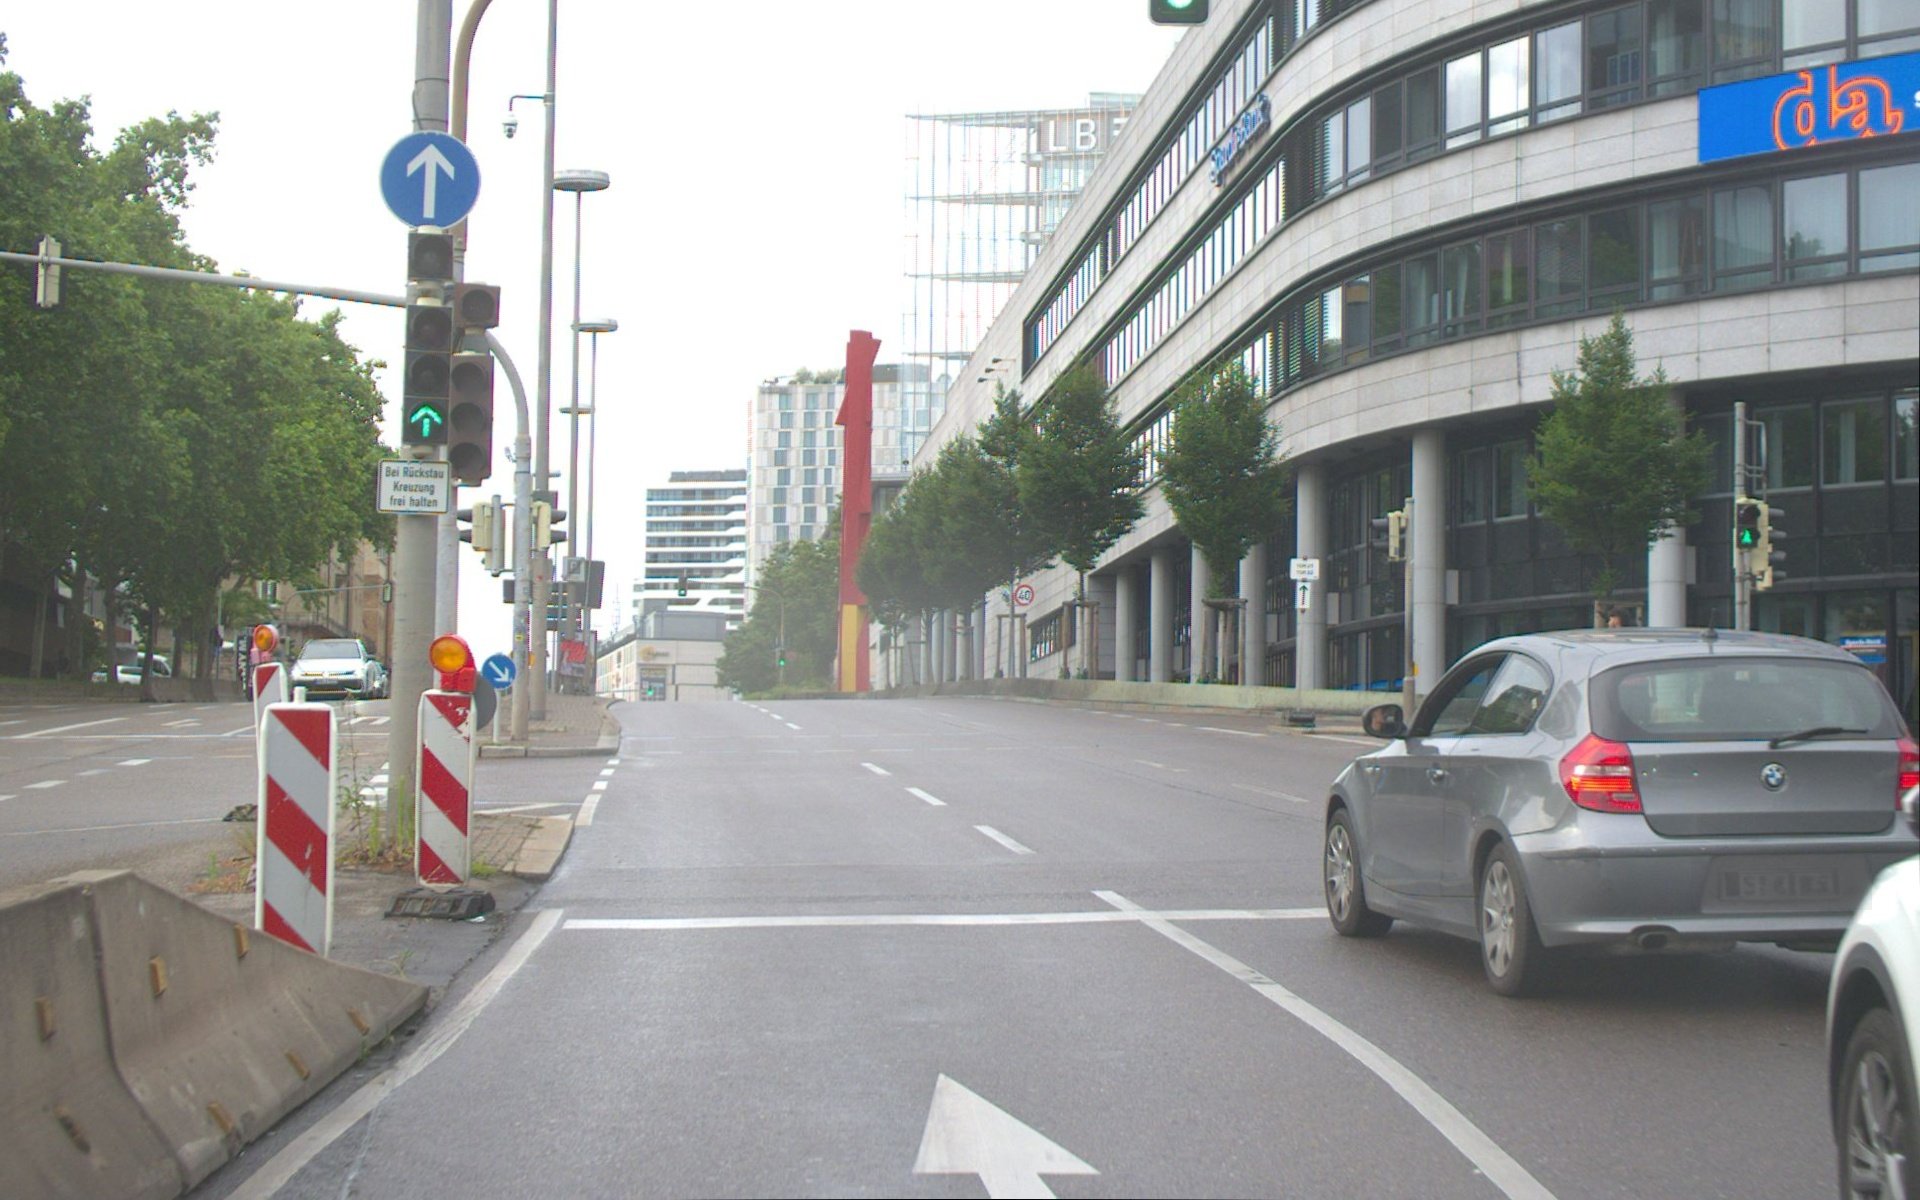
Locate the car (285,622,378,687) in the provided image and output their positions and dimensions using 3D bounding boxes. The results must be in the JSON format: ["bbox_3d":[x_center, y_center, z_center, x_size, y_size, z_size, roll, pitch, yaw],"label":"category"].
[{"bbox_3d":[-14.813,1.272,81.232,1.760,1.456,4.360,-1,0,-5],"label":"car"}]

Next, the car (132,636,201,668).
[{"bbox_3d":[-45.327,3.001,196.451,3.628,1.695,1.825,-1,-3,-8],"label":"car"}]

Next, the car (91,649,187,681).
[{"bbox_3d":[-40.515,3.219,169.666,1.823,1.506,4.569,-3,-3,33],"label":"car"}]

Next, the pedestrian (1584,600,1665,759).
[{"bbox_3d":[8.022,0.956,41.499,0.841,1.898,0.731,-1,-2,22],"label":"pedestrian"}]

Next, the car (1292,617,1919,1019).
[{"bbox_3d":[2.689,0.807,14.397,1.739,1.438,4.001,1,-1,-7],"label":"car"}]

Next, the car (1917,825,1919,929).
[{"bbox_3d":[5.550,0.854,14.443,1.754,1.403,4.227,2,-2,-1],"label":"car"}]

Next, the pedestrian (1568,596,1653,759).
[{"bbox_3d":[7.698,0.921,40.654,0.841,1.898,0.860,-1,-3,22],"label":"pedestrian"}]

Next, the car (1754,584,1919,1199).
[{"bbox_3d":[2.797,0.745,5.770,1.964,1.543,4.218,0,0,0],"label":"car"}]
